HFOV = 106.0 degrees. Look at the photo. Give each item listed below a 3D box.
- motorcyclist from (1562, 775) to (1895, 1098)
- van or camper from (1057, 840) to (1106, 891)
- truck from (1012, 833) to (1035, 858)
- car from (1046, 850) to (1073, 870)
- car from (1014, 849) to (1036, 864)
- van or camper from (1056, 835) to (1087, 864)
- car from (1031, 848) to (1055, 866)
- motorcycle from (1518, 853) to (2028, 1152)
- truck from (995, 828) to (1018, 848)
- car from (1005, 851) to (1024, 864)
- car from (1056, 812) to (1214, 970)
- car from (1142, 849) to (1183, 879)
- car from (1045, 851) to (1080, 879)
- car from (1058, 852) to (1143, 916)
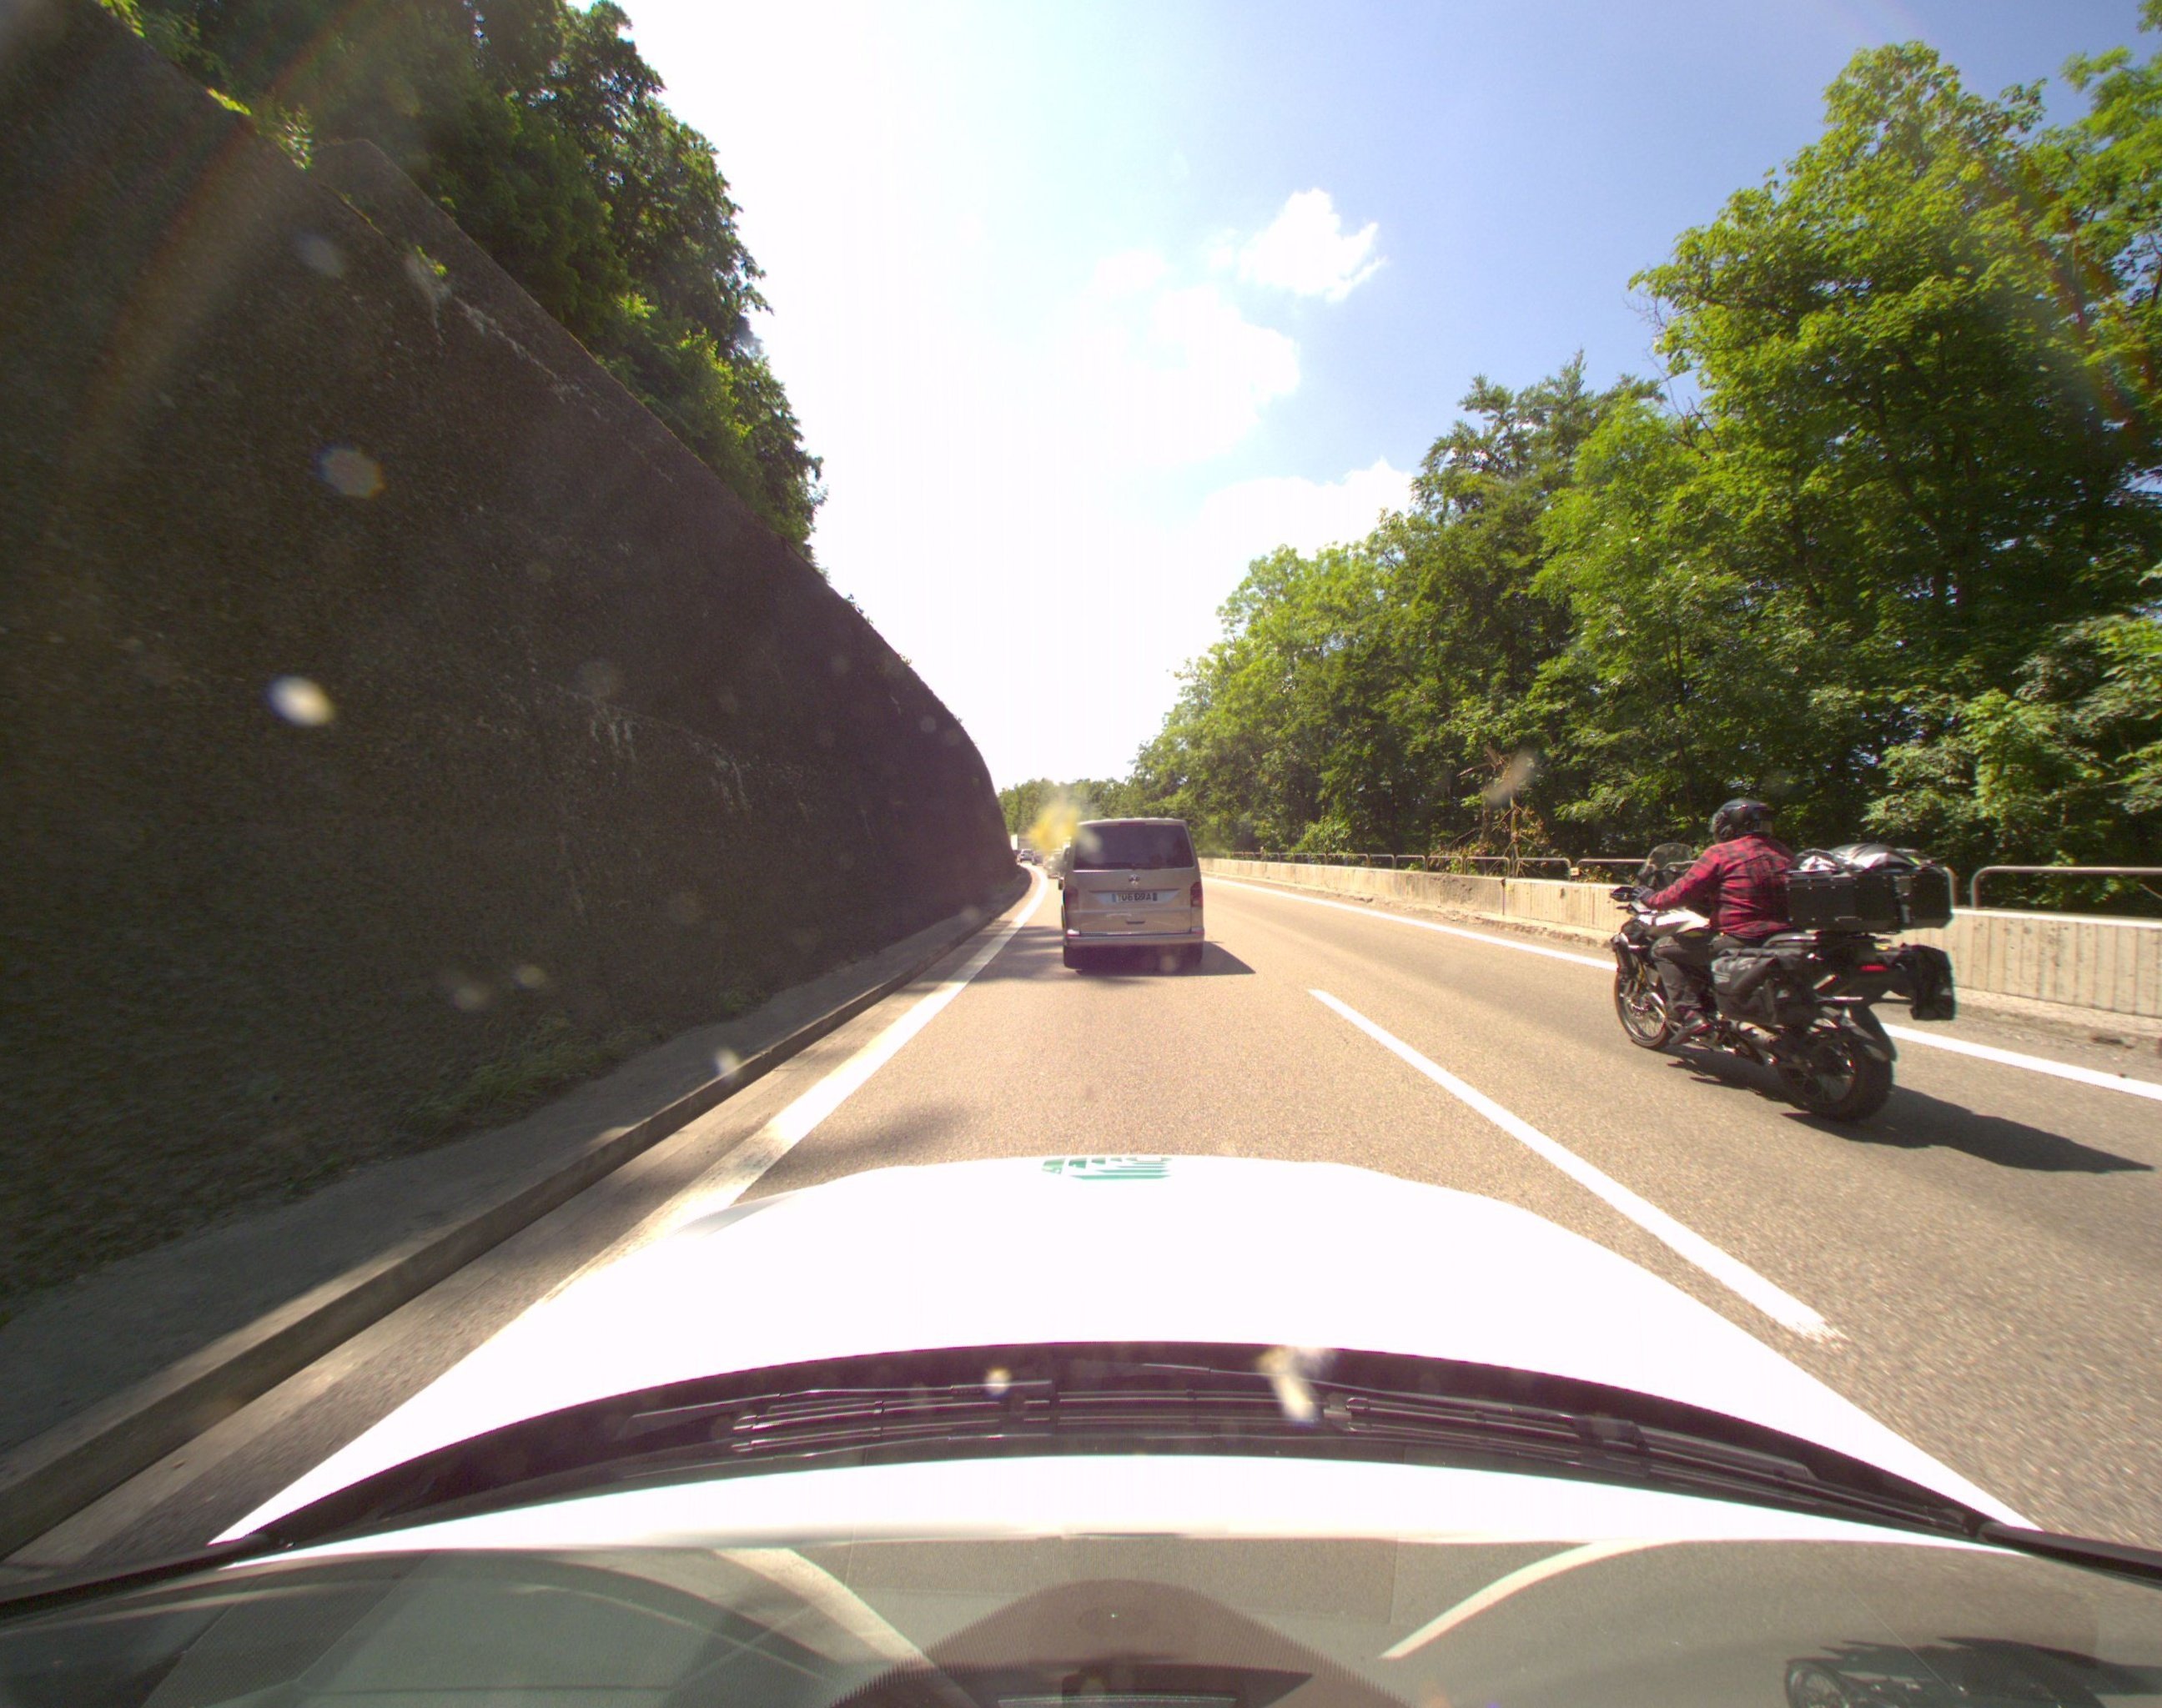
[{"bbox_3d":[4.036,0.454,5.237,1.058,1.800,1.336,0,0,-3],"label":"motorcyclist"},{"bbox_3d":[-0.014,0.426,33.473,1.848,1.942,4.163,-1,0,-1],"label":"van or camper"},{"bbox_3d":[-9.044,-1.294,127.038,2.924,3.687,7.701,-1,0,-9],"label":"truck"},{"bbox_3d":[-1.656,0.432,62.822,1.860,1.486,3.994,-1,0,-5],"label":"car"},{"bbox_3d":[-6.294,0.235,91.037,1.994,1.618,3.986,-1,0,-10],"label":"car"},{"bbox_3d":[-1.106,-0.499,88.690,2.601,2.855,6.320,3,0,-7],"label":"van or camper"},{"bbox_3d":[-3.589,0.303,76.204,1.857,1.619,3.988,0,0,-9],"label":"car"},{"bbox_3d":[4.055,0.708,5.256,0.970,1.419,2.679,0,0,-2],"label":"motorcycle"},{"bbox_3d":[-14.079,-3.054,153.343,3.165,3.468,8.190,4,0,-11],"label":"truck"},{"bbox_3d":[-8.434,0.398,103.091,1.754,1.571,3.752,0,0,-15],"label":"car"},{"bbox_3d":[0.716,0.442,12.399,1.933,1.931,4.695,0,0,1],"label":"car"},{"bbox_3d":[4.176,0.491,42.174,1.680,1.458,3.999,0,0,0],"label":"car"},{"bbox_3d":[-1.075,0.577,45.462,1.768,1.472,3.995,-1,0,-3],"label":"car"},{"bbox_3d":[0.385,0.692,21.080,1.900,1.489,4.375,1,0,-3],"label":"car"}]
